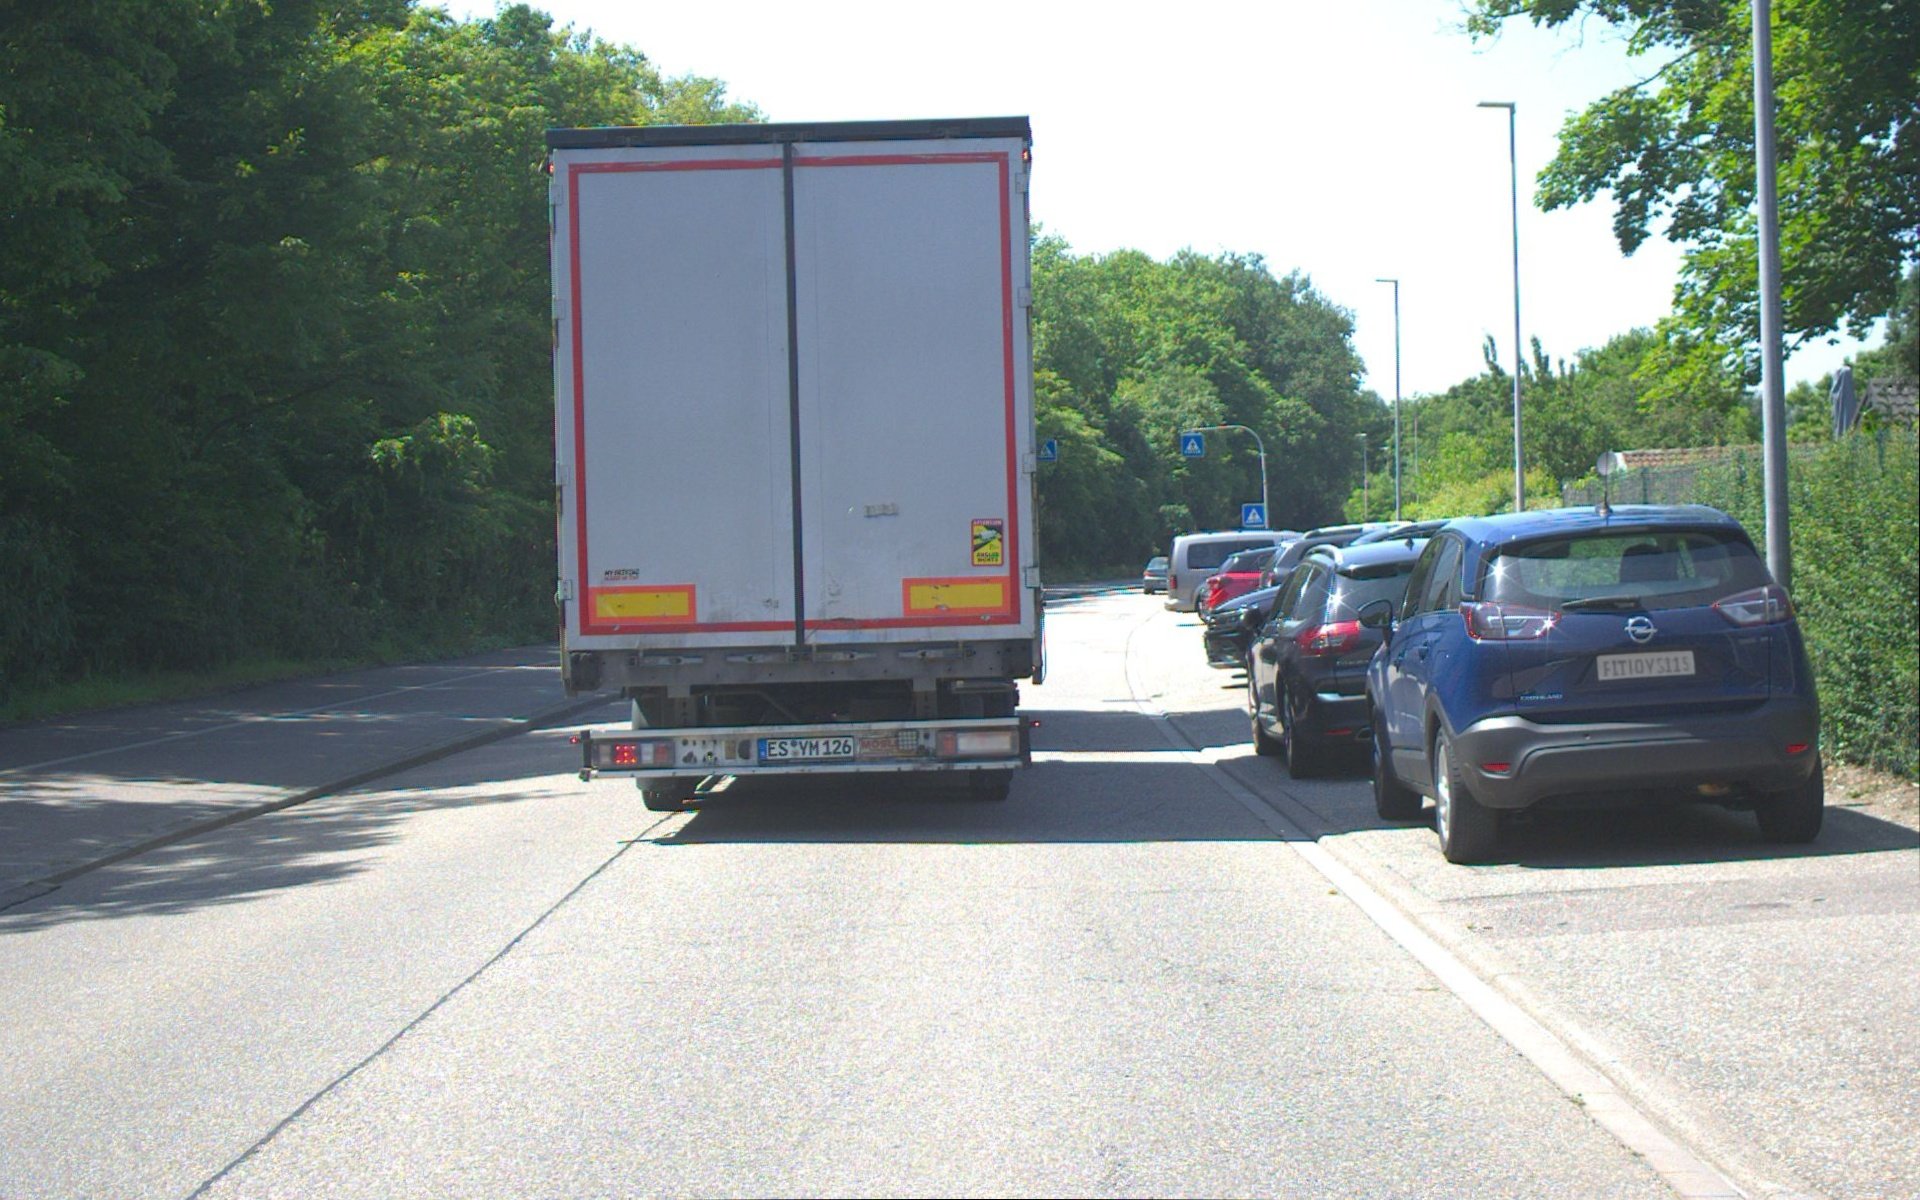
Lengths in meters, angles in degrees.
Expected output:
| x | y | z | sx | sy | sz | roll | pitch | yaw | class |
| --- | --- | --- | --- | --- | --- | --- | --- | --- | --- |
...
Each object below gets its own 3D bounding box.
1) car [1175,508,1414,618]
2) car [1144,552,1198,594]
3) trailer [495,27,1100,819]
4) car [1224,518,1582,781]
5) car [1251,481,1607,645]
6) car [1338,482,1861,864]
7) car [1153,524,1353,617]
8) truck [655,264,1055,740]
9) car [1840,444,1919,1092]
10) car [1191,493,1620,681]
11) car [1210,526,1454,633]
| x | y | z | sx | sy | sz | roll | pitch | yaw | class |
| --- | --- | --- | --- | --- | --- | --- | --- | --- | --- |
| 6.766 | -0.763 | 69.833 | 4.622 | 1.842 | 1.995 | -5 | 1 | 5 | car |
| 7.817 | -1.014 | 127.145 | 1.781 | 1.481 | 3.999 | -1 | 1 | 6 | car |
| -0.822 | -1.004 | 23.571 | 3.112 | 4.088 | 11.537 | 0 | 1 | 0 | trailer |
| 2.905 | 0.262 | 23.484 | 1.789 | 1.477 | 4.665 | -5 | 1 | 1 | car |
| 5.916 | -0.480 | 43.761 | 4.258 | 1.692 | 1.853 | -5 | 1 | 4 | car |
| 3.015 | 0.264 | 17.043 | 1.789 | 1.598 | 4.130 | -2 | 2 | 0 | car |
| 5.658 | -0.583 | 66.665 | 3.575 | 1.497 | 1.842 | -5 | 1 | -1 | car |
| -0.832 | -0.828 | 30.182 | 3.113 | 3.712 | 6.414 | 0 | 1 | 0 | truck |
| 3.259 | 0.401 | 6.875 | 1.789 | 1.652 | 4.452 | -5 | 1 | 1 | car |
| 4.943 | -0.156 | 38.622 | 4.470 | 1.698 | 1.914 | -5 | 1 | 1 | car |
| 6.259 | -0.358 | 58.132 | 3.920 | 1.473 | 1.845 | -5 | 1 | 4 | car |
